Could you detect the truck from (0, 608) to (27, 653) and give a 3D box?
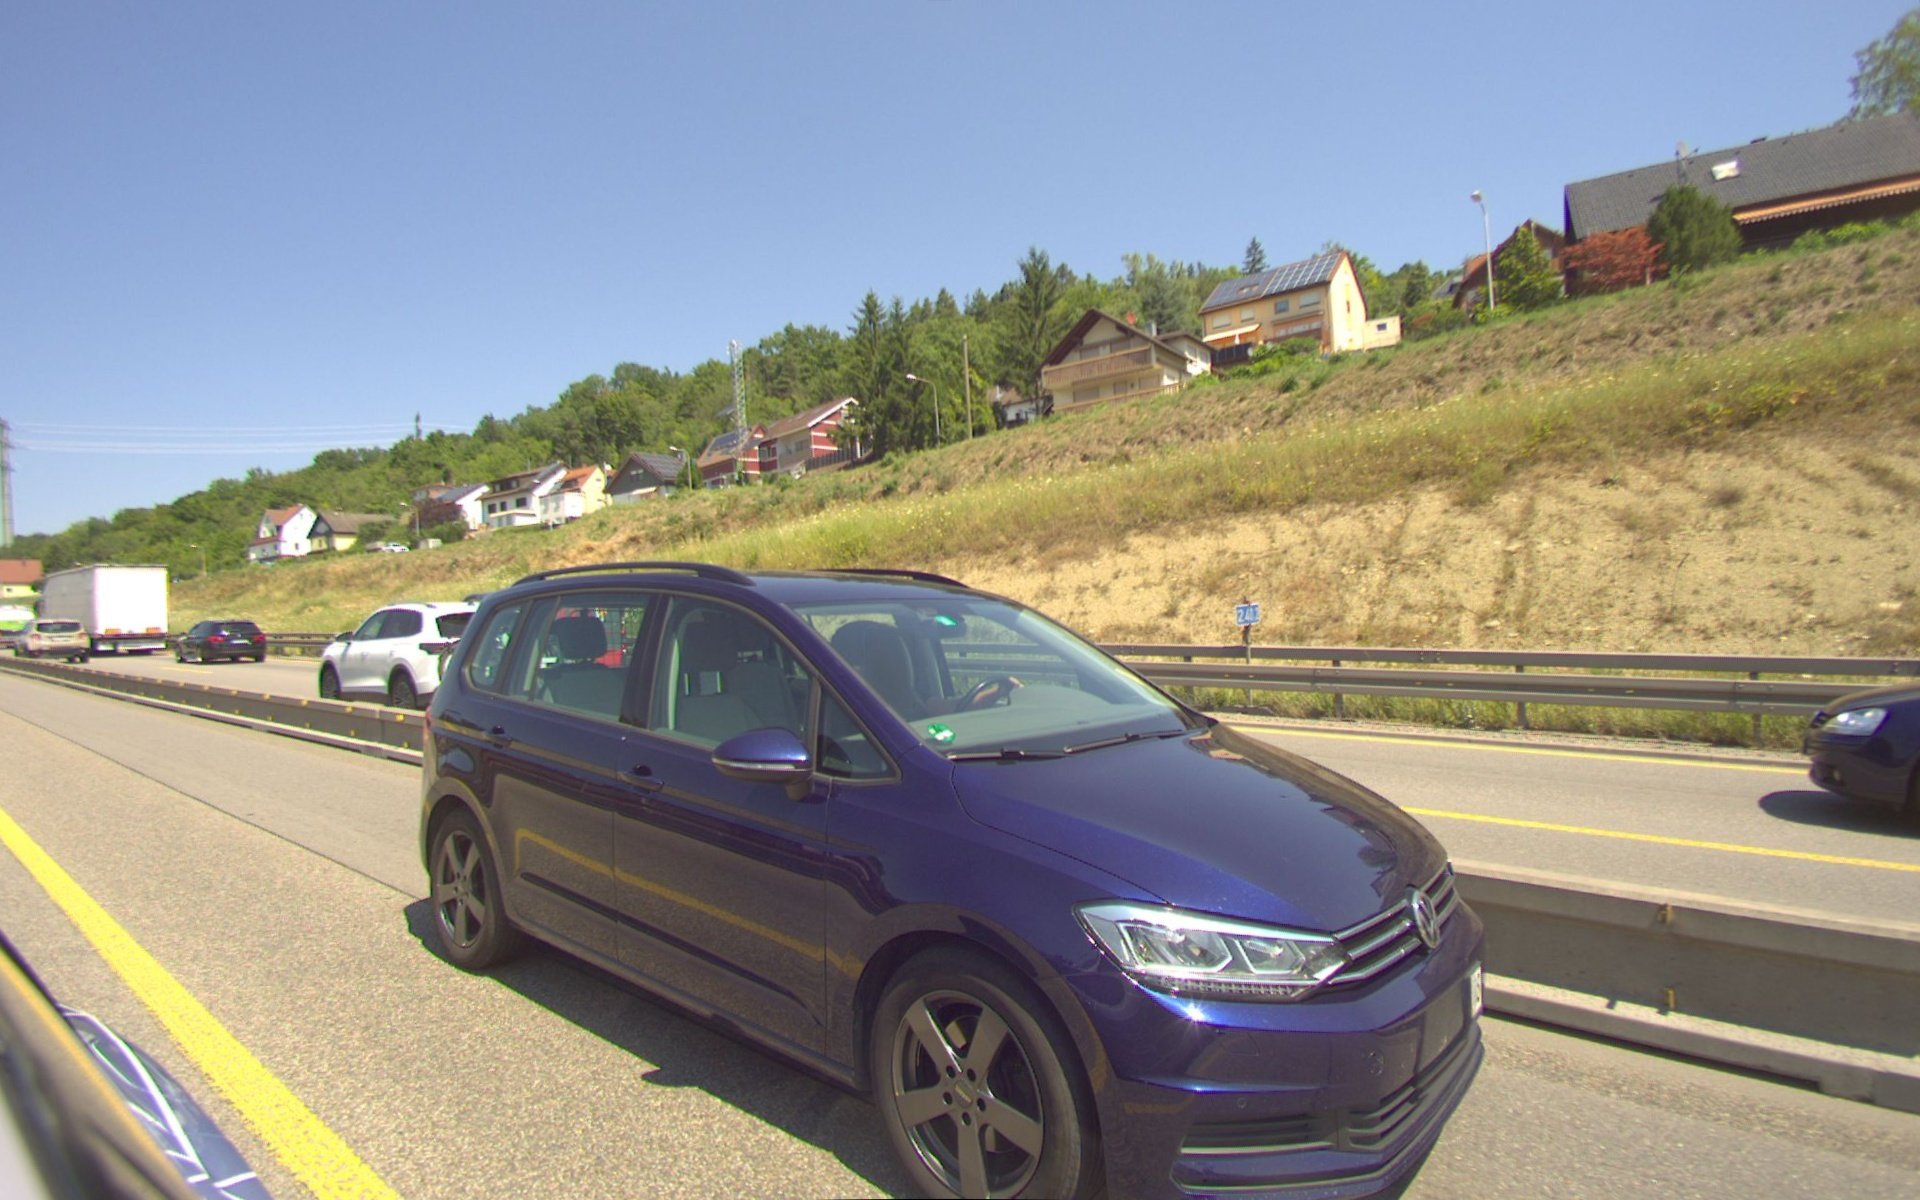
[{"bbox_3d":[-72.746,2.320,76.185,8.954,3.166,2.698,-2,-1,41],"label":"truck"}]

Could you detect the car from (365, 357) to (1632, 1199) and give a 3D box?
[{"bbox_3d":[-0.407,0.550,3.795,4.650,1.731,1.757,-3,-1,41],"label":"car"}]

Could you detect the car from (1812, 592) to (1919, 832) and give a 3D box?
[{"bbox_3d":[7.497,0.629,5.588,4.240,1.429,1.692,-2,-1,41],"label":"car"}]

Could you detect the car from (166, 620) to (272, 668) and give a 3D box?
[{"bbox_3d":[-25.709,1.471,35.054,4.716,1.518,1.973,-1,0,41],"label":"car"}]

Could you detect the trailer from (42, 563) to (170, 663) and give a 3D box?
[{"bbox_3d":[-41.214,0.697,48.578,13.974,4.213,2.756,-2,-1,42],"label":"trailer"}]

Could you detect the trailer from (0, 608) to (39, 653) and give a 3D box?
[{"bbox_3d":[-66.940,2.162,71.082,6.367,3.023,2.585,-2,-1,41],"label":"trailer"}]

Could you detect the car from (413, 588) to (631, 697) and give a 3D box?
[{"bbox_3d":[-8.974,0.820,20.524,5.117,1.941,2.017,-2,-2,40],"label":"car"}]

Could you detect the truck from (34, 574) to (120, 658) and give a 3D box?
[{"bbox_3d":[-46.780,0.843,53.560,5.285,4.213,2.717,-2,-1,41],"label":"truck"}]

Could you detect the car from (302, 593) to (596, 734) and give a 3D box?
[{"bbox_3d":[-7.427,0.807,14.398,5.367,1.667,1.820,-2,-1,41],"label":"car"}]

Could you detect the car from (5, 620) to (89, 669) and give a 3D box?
[{"bbox_3d":[-34.115,1.620,37.785,4.412,1.679,1.813,-1,-1,41],"label":"car"}]
